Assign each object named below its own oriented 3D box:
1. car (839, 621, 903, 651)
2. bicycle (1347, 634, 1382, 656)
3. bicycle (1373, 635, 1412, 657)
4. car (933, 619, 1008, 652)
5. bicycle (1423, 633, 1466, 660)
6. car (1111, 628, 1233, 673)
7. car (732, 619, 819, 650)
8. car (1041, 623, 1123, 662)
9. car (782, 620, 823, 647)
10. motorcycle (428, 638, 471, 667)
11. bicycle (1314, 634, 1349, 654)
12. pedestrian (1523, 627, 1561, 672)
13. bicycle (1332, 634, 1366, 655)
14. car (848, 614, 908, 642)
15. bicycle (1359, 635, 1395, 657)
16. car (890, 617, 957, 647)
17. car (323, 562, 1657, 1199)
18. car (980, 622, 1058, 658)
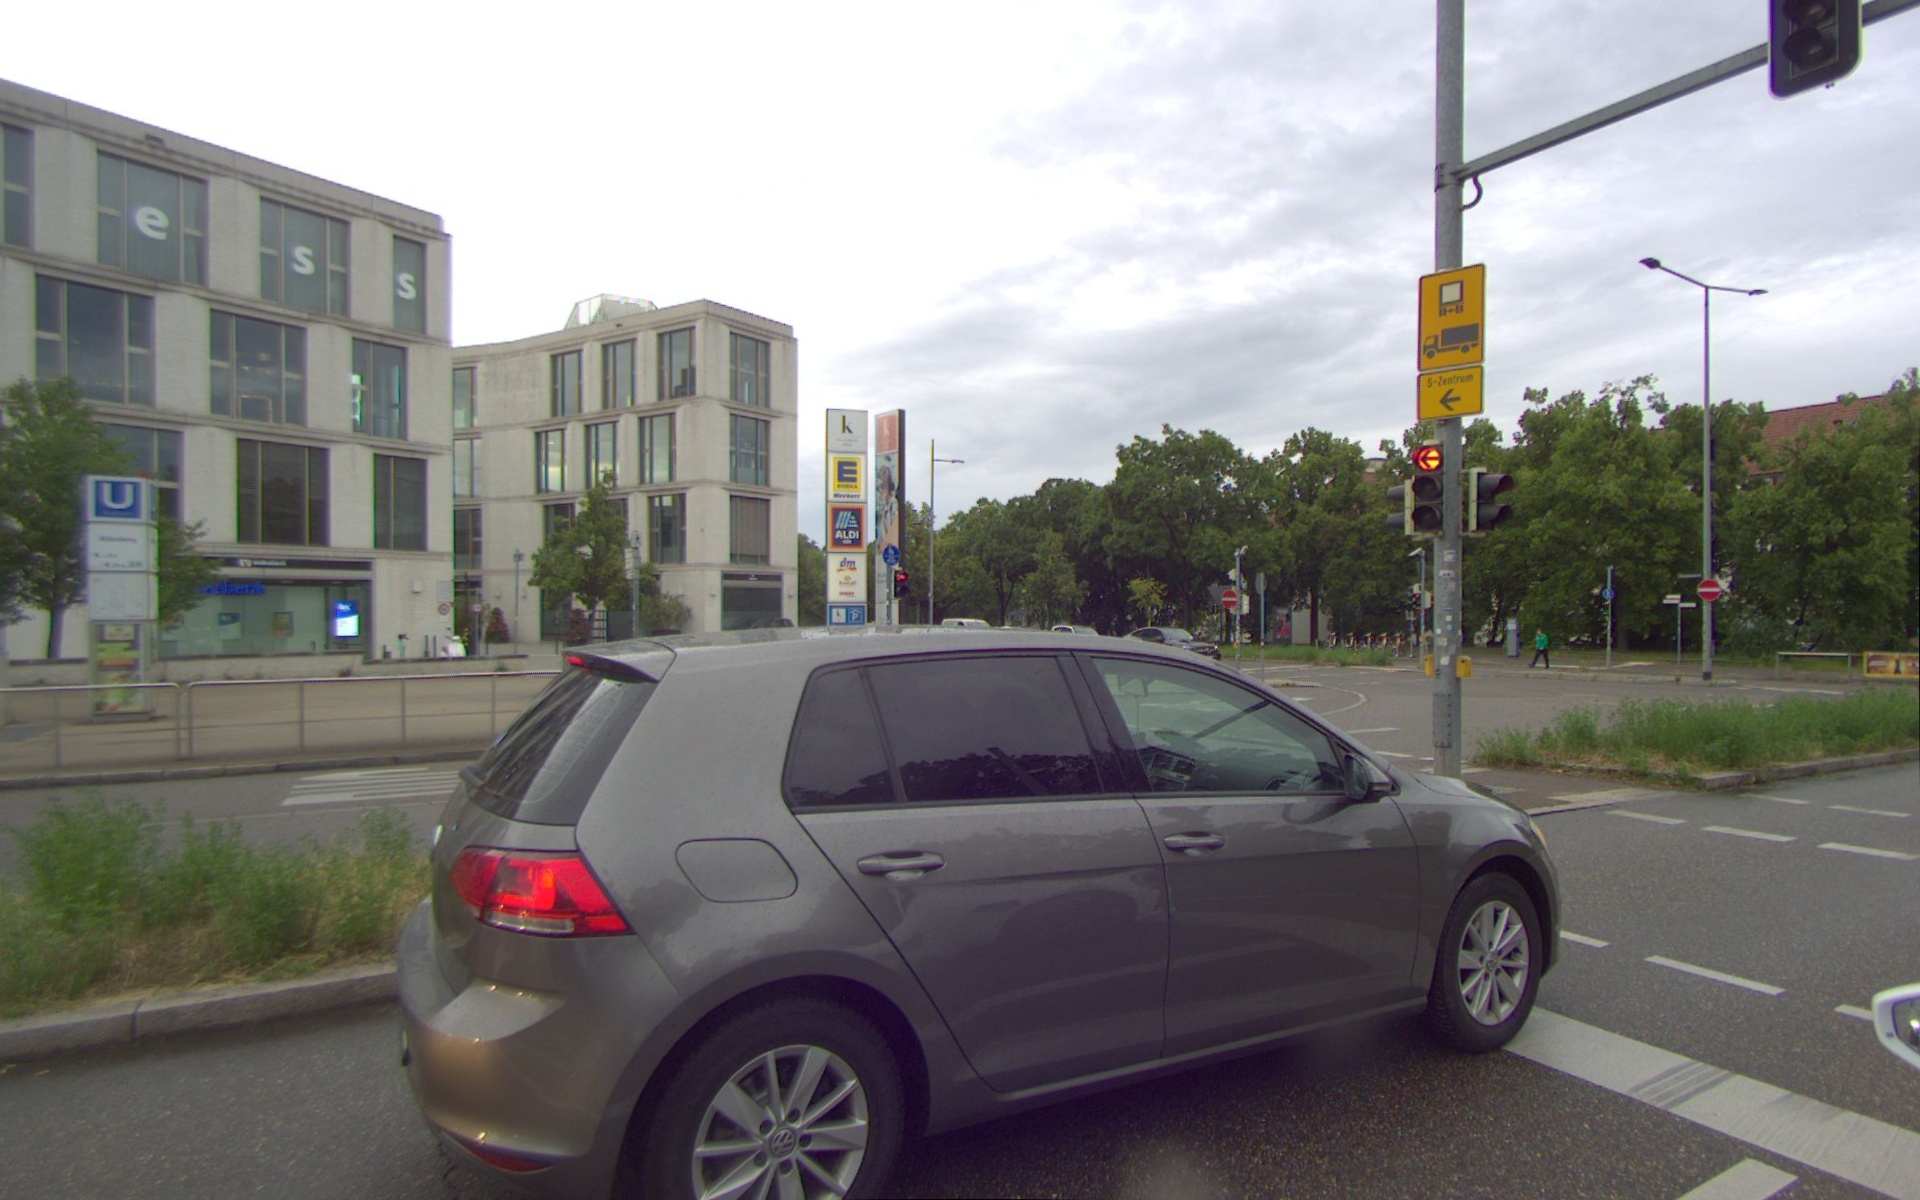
[{"bbox_3d":[-5.333,2.113,59.692,1.976,1.615,4.855,2,0,-29],"label":"car"},{"bbox_3d":[21.368,2.378,53.030,1.959,1.085,0.649,2,0,-30],"label":"bicycle"},{"bbox_3d":[22.240,2.361,51.645,1.959,1.085,0.798,2,0,-30],"label":"bicycle"},{"bbox_3d":[0.528,1.946,55.399,1.976,1.615,4.855,2,0,-29],"label":"car"},{"bbox_3d":[23.756,2.286,49.257,1.959,1.266,0.986,2,0,-30],"label":"bicycle"},{"bbox_3d":[8.392,1.965,40.235,1.976,1.520,5.001,2,0,-29],"label":"car"},{"bbox_3d":[-9.190,1.718,50.311,1.968,1.483,3.985,0,-2,37],"label":"car"},{"bbox_3d":[5.554,1.909,46.021,1.976,1.615,3.536,2,0,-30],"label":"car"},{"bbox_3d":[-12.600,2.666,80.401,1.976,2.040,3.969,1,-1,-29],"label":"car"},{"bbox_3d":[-14.187,1.457,27.909,1.081,0.750,0.522,2,0,29],"label":"motorcycle"},{"bbox_3d":[20.264,2.403,54.760,1.959,1.085,0.649,2,0,-30],"label":"bicycle"},{"bbox_3d":[23.655,2.012,40.840,0.932,1.750,0.921,2,0,-21],"label":"pedestrian"},{"bbox_3d":[20.935,2.389,54.030,1.959,1.085,0.649,2,0,-30],"label":"bicycle"},{"bbox_3d":[-5.463,1.819,66.106,1.977,1.615,4.852,2,0,-31],"label":"car"},{"bbox_3d":[21.669,2.395,52.170,1.959,1.085,0.649,2,0,-30],"label":"bicycle"},{"bbox_3d":[-2.260,1.888,60.387,1.976,1.615,4.855,2,0,-29],"label":"car"},{"bbox_3d":[0.371,0.750,3.549,4.325,1.501,1.807,2,-1,-30],"label":"car"},{"bbox_3d":[2.957,1.996,50.872,1.976,1.615,4.185,2,0,-29],"label":"car"}]
